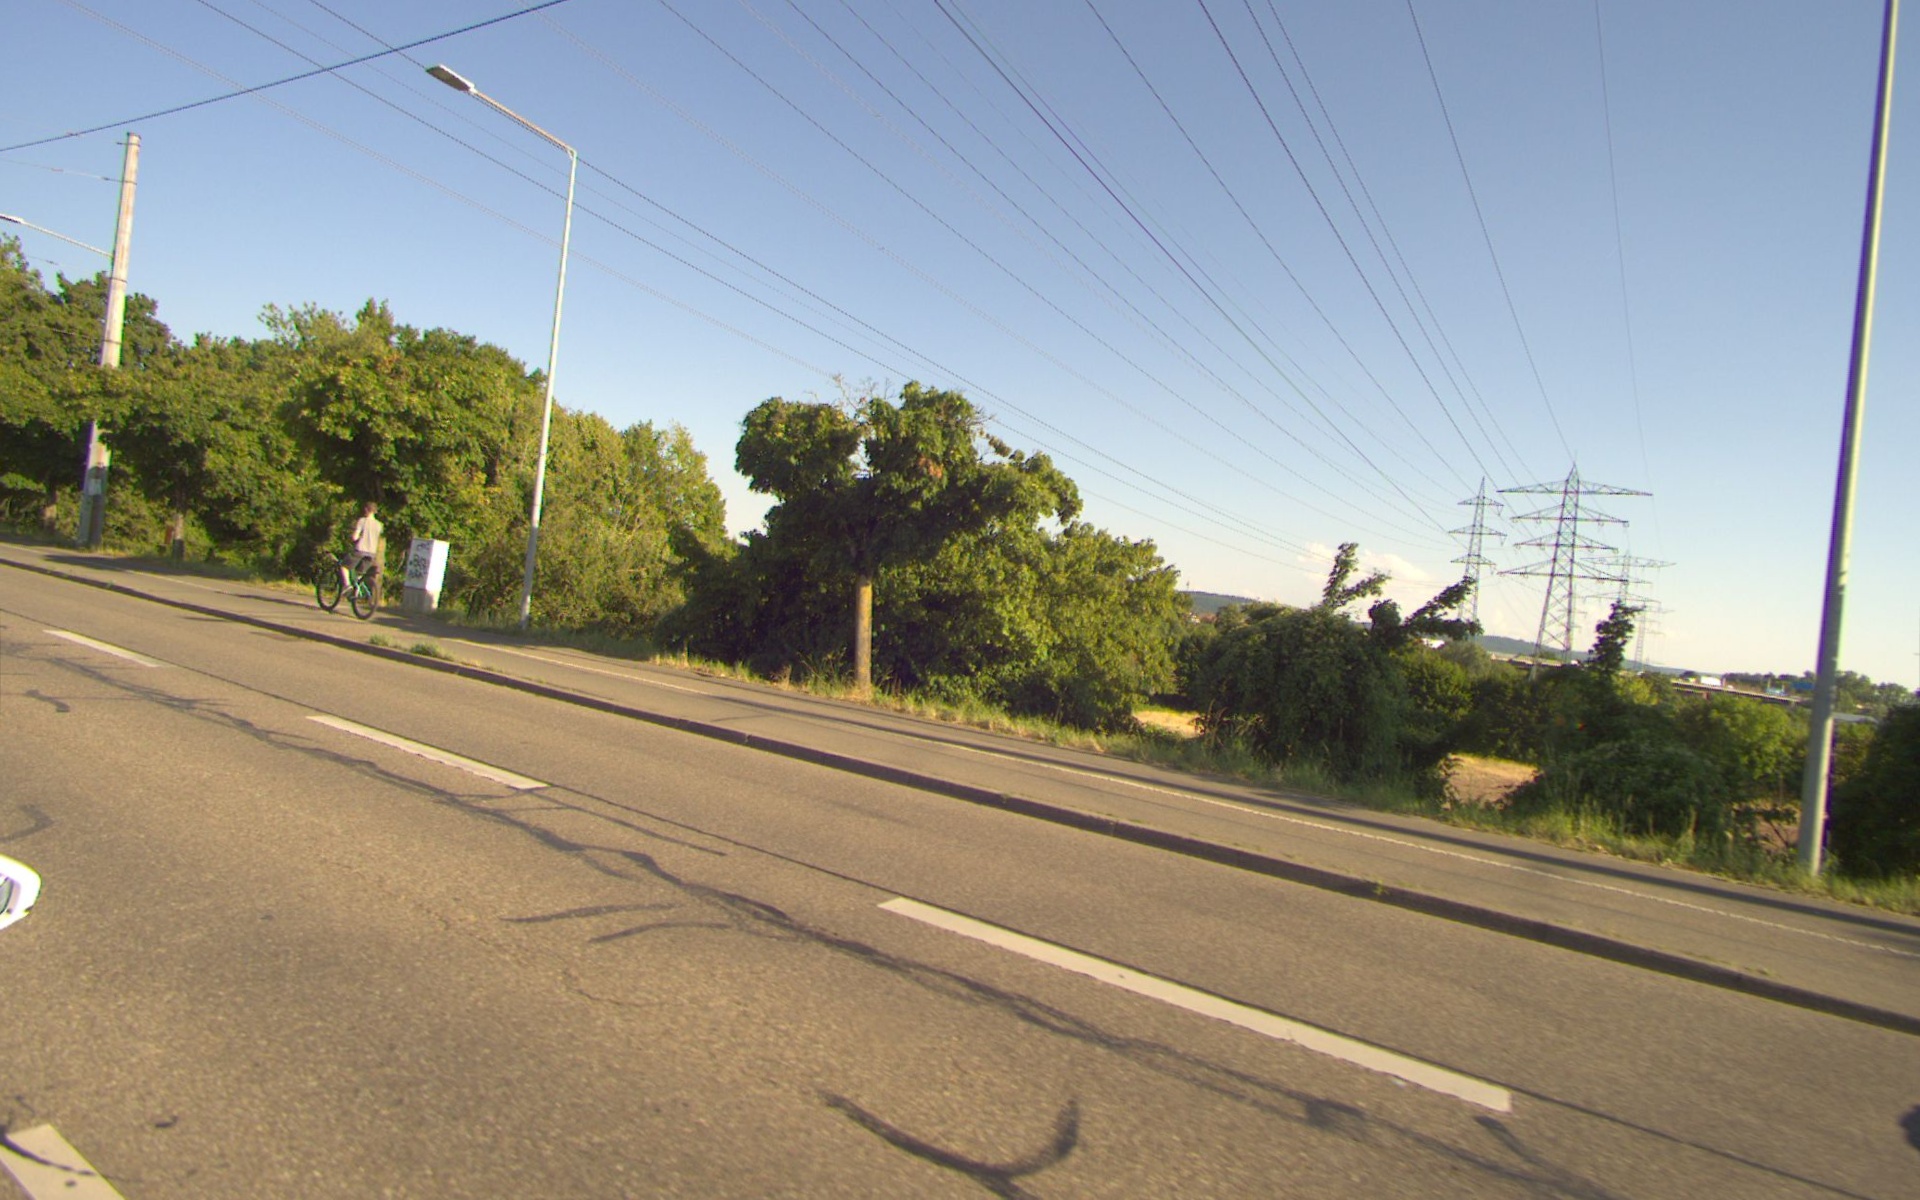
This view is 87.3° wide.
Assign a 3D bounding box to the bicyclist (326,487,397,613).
[{"bbox_3d":[-10.174,-0.849,17.107,0.717,2.040,0.528,6,-2,33],"label":"bicyclist"}]

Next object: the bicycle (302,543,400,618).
[{"bbox_3d":[-10.451,-0.351,17.231,1.939,1.072,0.528,6,-2,33],"label":"bicycle"}]
